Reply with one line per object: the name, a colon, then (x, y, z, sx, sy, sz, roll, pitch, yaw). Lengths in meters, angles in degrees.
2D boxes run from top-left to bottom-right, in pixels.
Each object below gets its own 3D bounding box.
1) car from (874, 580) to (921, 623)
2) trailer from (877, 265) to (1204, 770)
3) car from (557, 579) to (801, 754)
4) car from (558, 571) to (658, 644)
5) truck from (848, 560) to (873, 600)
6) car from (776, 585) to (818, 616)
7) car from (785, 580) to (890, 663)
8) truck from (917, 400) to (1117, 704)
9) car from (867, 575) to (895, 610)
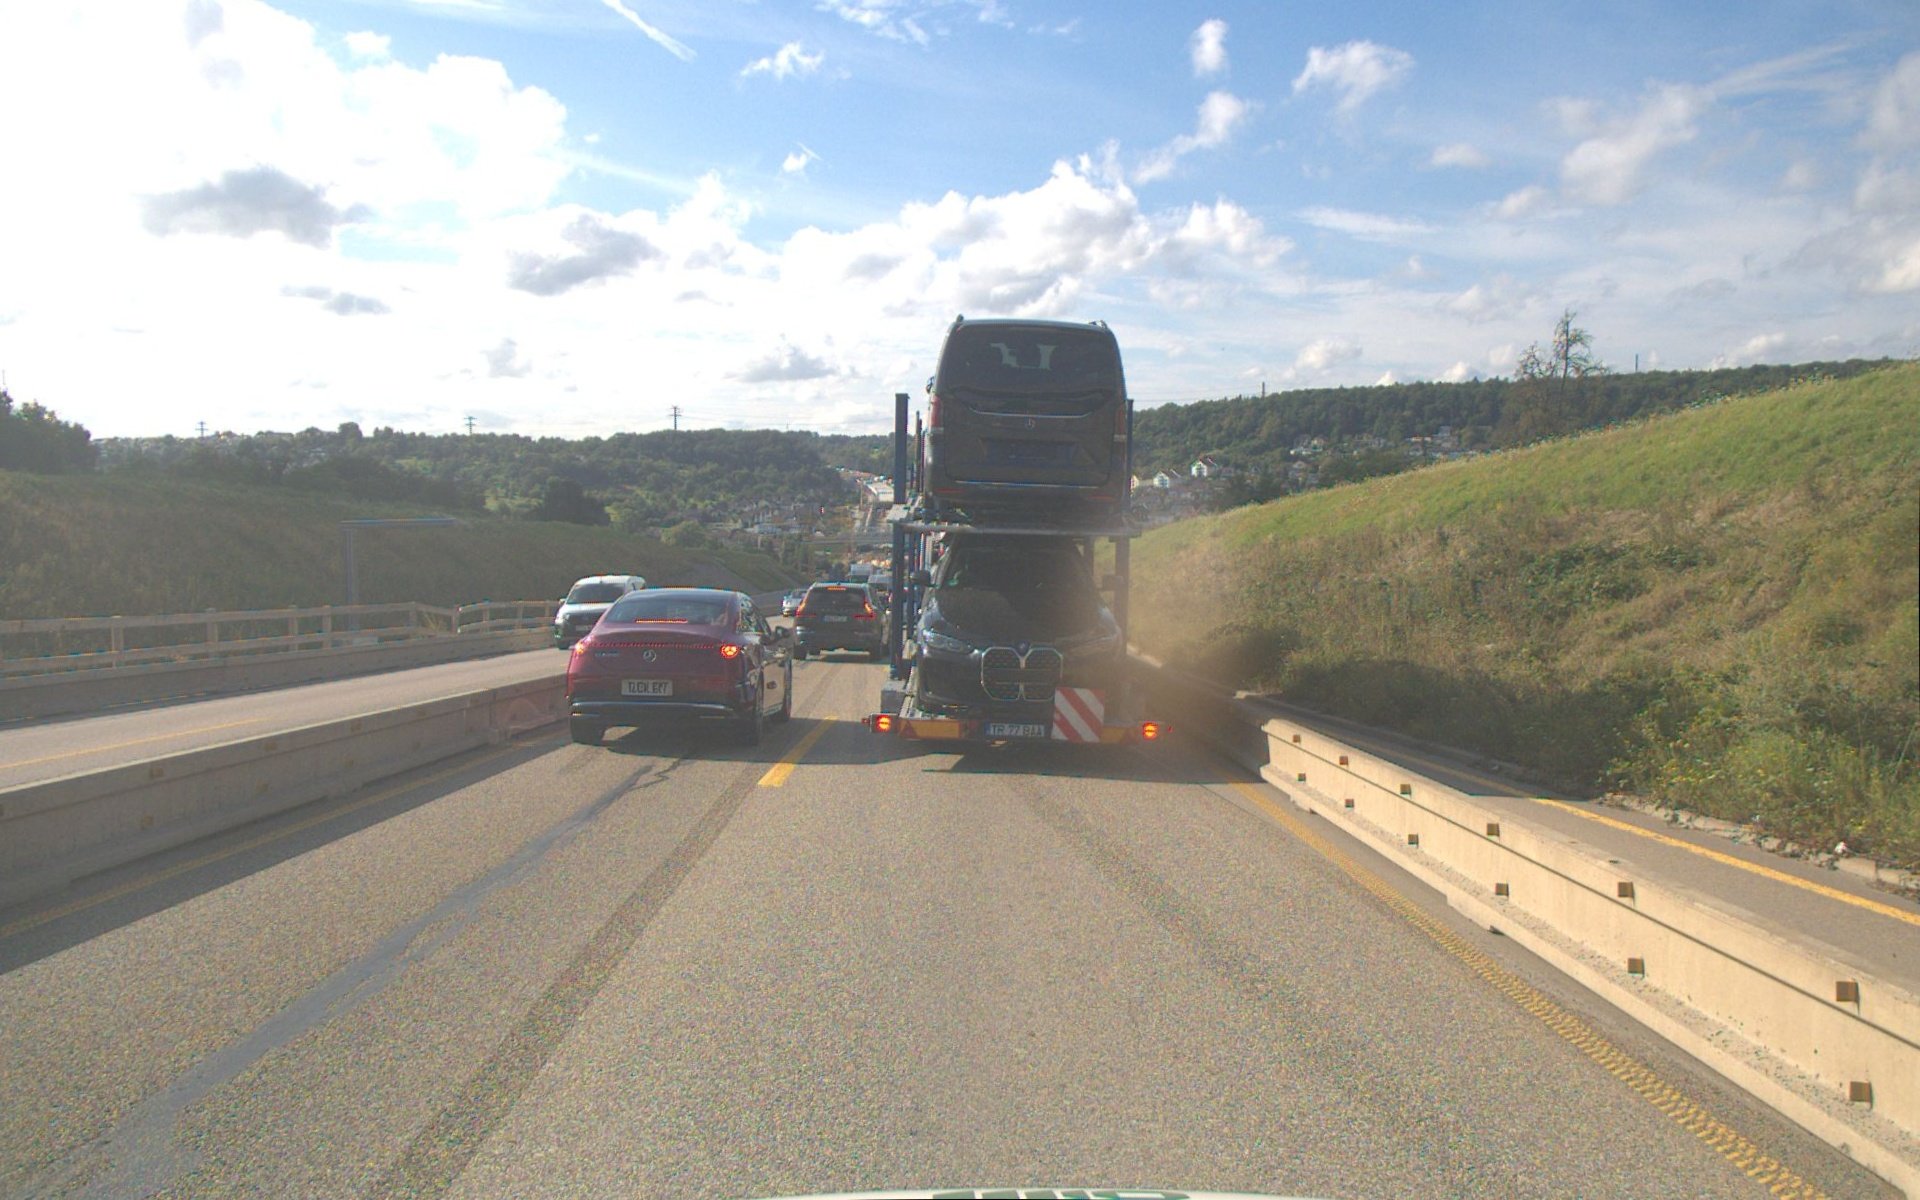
car: (-2.380, 0.036, 64.183, 1.760, 1.624, 4.742, 0, 0, -1)
trailer: (0.719, -0.711, 19.149, 2.652, 4.099, 11.420, 0, 0, 1)
car: (-2.731, 0.563, 17.114, 1.786, 1.518, 4.683, 1, 1, -1)
car: (-8.901, 0.152, 42.156, 1.699, 1.688, 4.217, -3, 1, -2)
truck: (-10.572, -2.109, 175.440, 2.563, 4.226, 5.776, 0, 0, -4)
car: (-8.310, 0.030, 84.417, 1.699, 1.450, 4.626, -3, 0, -1)
car: (-2.622, 0.417, 36.346, 1.953, 1.653, 4.750, 1, 1, 0)
truck: (0.783, -0.655, 24.713, 2.623, 3.990, 6.028, 0, 0, 1)
car: (-7.026, -0.664, 147.495, 2.066, 2.885, 6.139, -3, 0, 0)
